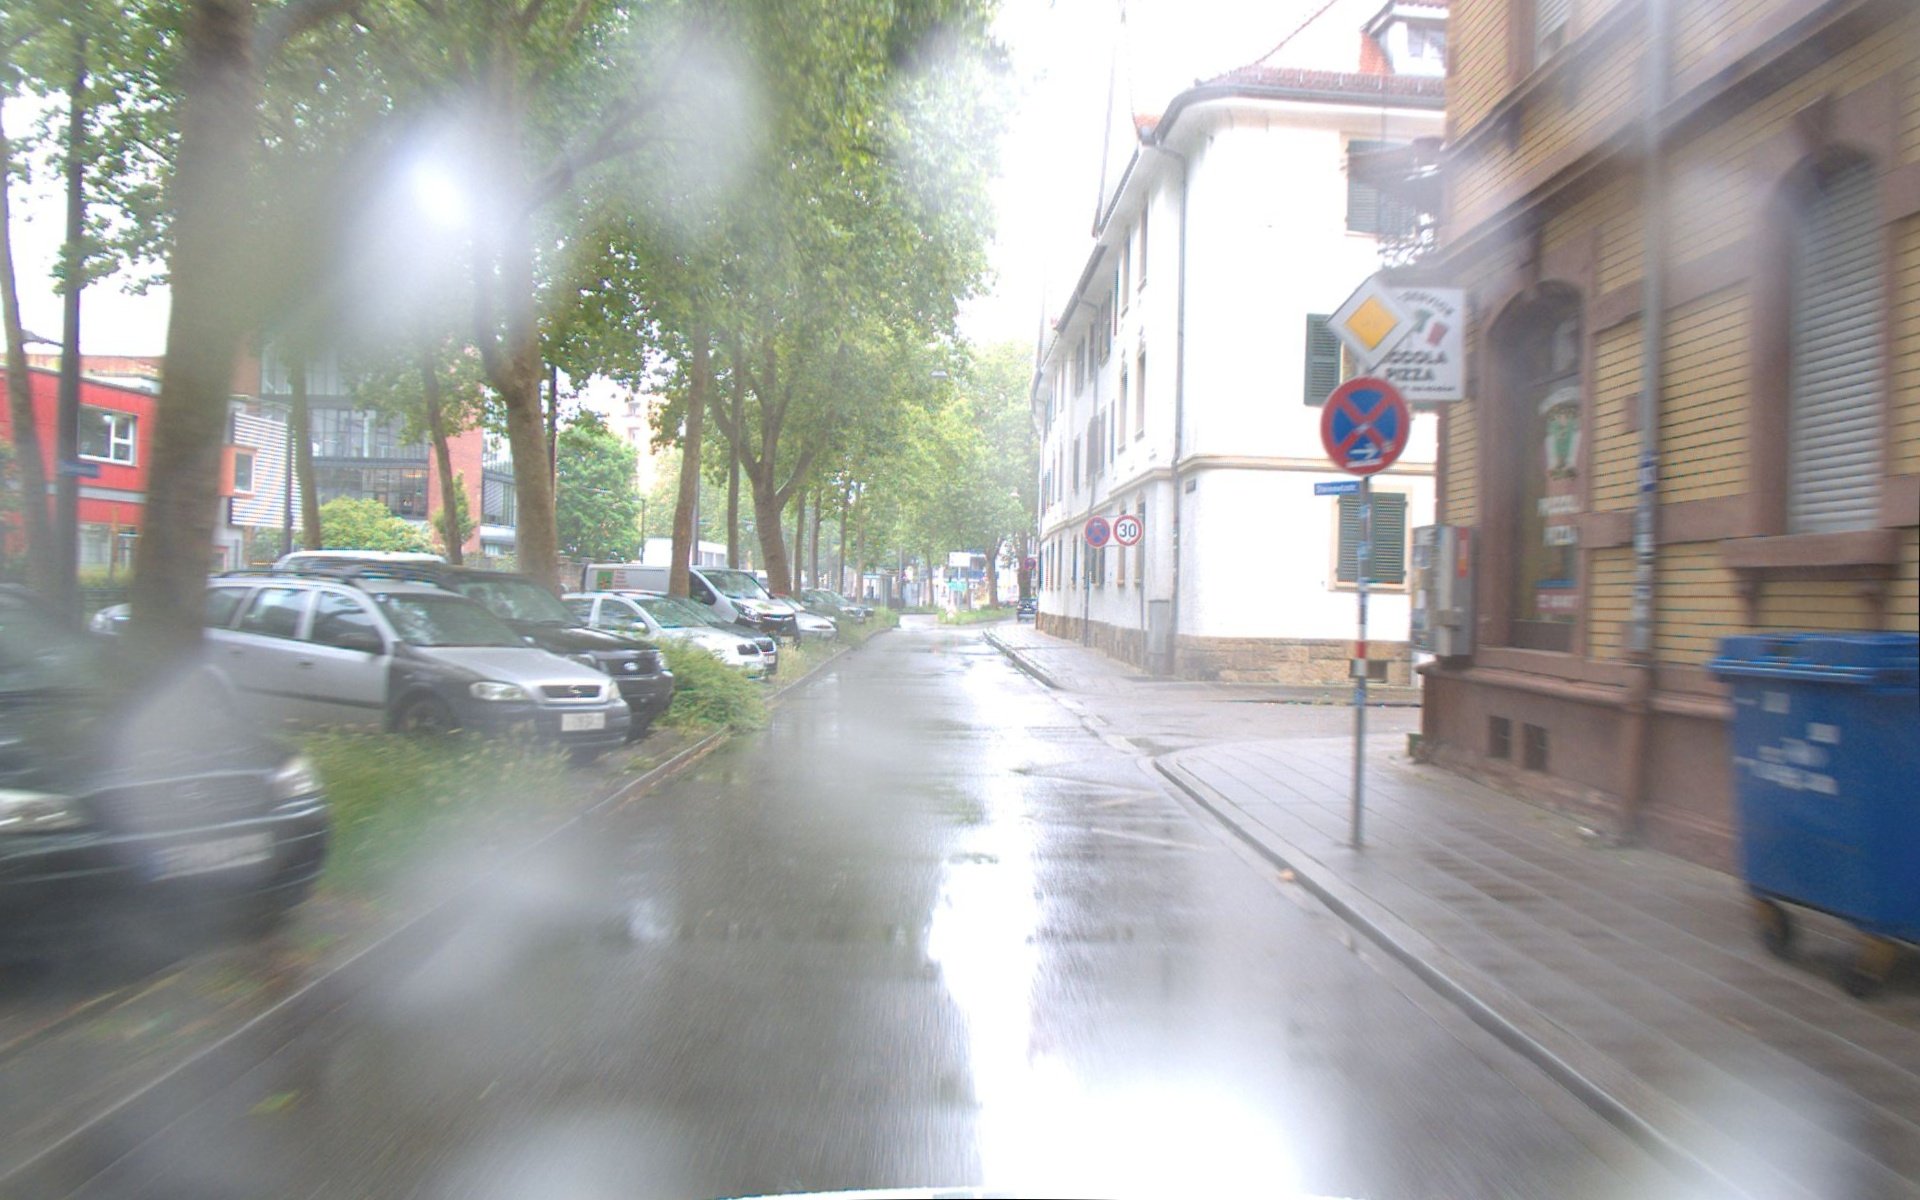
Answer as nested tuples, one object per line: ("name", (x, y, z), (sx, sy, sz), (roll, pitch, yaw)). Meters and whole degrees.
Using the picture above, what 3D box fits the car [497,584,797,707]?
("car", (-4.577, 0.623, 24.186), (3.974, 1.525, 1.747), (3, 1, 23))

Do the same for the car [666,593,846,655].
("car", (-5.299, 0.591, 42.780), (4.460, 1.508, 1.772), (0, 0, 29))

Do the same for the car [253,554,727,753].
("car", (-4.635, 0.445, 16.253), (4.318, 1.689, 1.928), (1, 0, 27))

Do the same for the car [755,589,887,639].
("car", (-5.036, 0.503, 59.986), (4.370, 1.625, 1.922), (2, 0, 25))

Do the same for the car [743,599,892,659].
("car", (-3.884, 0.759, 44.925), (3.734, 1.547, 1.719), (0, 0, 30))

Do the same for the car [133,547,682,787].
("car", (-4.538, 0.487, 13.462), (4.321, 1.674, 1.868), (0, -1, 30))

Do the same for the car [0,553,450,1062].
("car", (-4.267, 0.554, 6.669), (4.135, 1.505, 1.742), (3, 1, 26))

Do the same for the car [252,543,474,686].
("car", (-9.579, 0.203, 27.039), (1.998, 2.034, 5.155), (2, 0, -4))

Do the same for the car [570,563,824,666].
("car", (-5.488, 0.274, 34.382), (5.019, 2.012, 2.099), (0, 0, 30))

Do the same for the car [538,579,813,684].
("car", (-4.708, 0.480, 27.291), (4.218, 1.462, 1.746), (3, 1, 26))

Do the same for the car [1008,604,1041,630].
("car", (4.440, 1.142, 114.732), (1.953, 1.668, 3.999), (3, 0, -2))

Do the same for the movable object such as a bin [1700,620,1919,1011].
("movable object such as a bin", (3.770, 0.775, 6.574), (1.000, 1.324, 1.366), (-2, 1, -2))
